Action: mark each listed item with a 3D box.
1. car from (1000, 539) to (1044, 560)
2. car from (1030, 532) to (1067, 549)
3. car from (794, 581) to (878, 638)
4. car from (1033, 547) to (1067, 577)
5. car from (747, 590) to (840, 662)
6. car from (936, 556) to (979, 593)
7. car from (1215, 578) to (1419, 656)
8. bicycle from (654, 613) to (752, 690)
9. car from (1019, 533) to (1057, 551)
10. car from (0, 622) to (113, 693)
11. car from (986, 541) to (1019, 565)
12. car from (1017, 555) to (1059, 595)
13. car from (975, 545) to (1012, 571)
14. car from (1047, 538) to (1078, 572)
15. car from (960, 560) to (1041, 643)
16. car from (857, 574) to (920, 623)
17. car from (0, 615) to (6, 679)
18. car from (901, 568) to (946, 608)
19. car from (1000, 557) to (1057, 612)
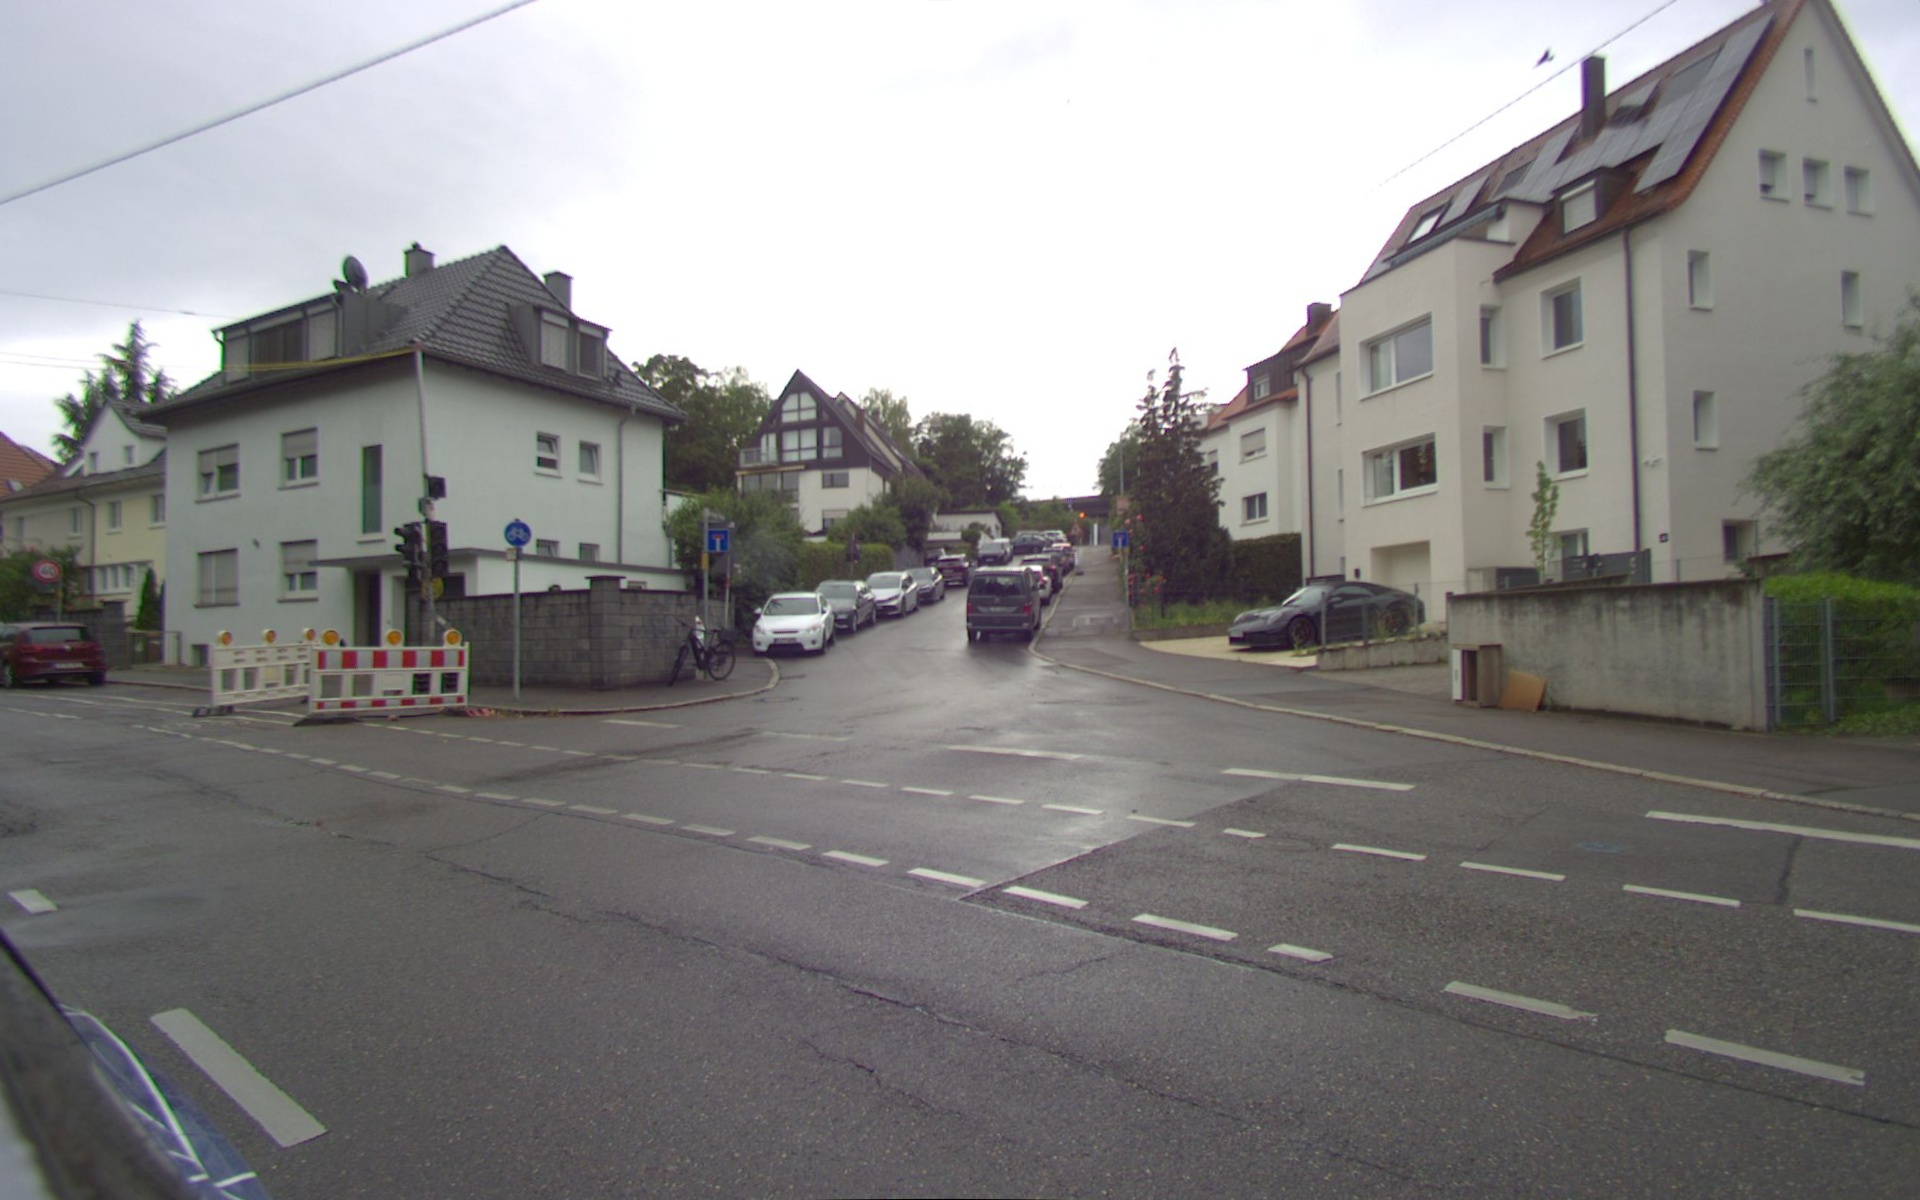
[{"bbox_3d":[5.131,-4.222,83.778,3.572,1.510,1.578,-2,5,7],"label":"car"},{"bbox_3d":[9.093,-6.082,103.806,3.492,1.510,1.614,-1,6,18],"label":"car"},{"bbox_3d":[-3.806,0.241,31.751,1.684,1.476,3.847,-2,3,7],"label":"car"},{"bbox_3d":[5.218,-2.215,58.103,1.677,1.479,3.553,-2,5,9],"label":"car"},{"bbox_3d":[-4.172,0.605,25.855,1.726,1.476,3.561,-2,3,0],"label":"car"},{"bbox_3d":[-0.090,-1.362,52.282,1.323,1.566,3.971,-1,6,13],"label":"car"},{"bbox_3d":[7.672,0.341,21.802,3.857,1.342,1.572,-4,1,-16],"label":"car"},{"bbox_3d":[-4.694,0.912,18.554,0.705,1.321,1.713,-1,0,33],"label":"bicycle"},{"bbox_3d":[7.631,-5.666,98.768,3.489,1.510,1.615,-1,6,16],"label":"car"},{"bbox_3d":[-21.468,1.348,23.376,3.785,1.505,1.877,-3,-3,33],"label":"car"},{"bbox_3d":[3.208,-3.546,75.474,1.720,1.510,3.817,-1,6,13],"label":"car"},{"bbox_3d":[3.529,-1.138,45.153,1.565,1.479,3.553,-2,5,9],"label":"car"},{"bbox_3d":[2.306,-2.862,68.724,1.720,1.510,3.817,-1,6,13],"label":"car"},{"bbox_3d":[6.380,-2.823,62.728,1.677,1.871,3.553,-2,5,9],"label":"car"},{"bbox_3d":[1.228,-0.022,28.981,1.893,1.950,3.789,-2,5,9],"label":"car"},{"bbox_3d":[-2.549,-0.097,36.967,1.564,1.476,3.848,-1,5,7],"label":"car"},{"bbox_3d":[-25.958,1.287,25.648,3.993,1.601,1.652,-3,-1,33],"label":"car"},{"bbox_3d":[-1.513,-0.535,42.729,1.320,1.400,3.497,-1,5,7],"label":"car"},{"bbox_3d":[2.738,-0.653,39.805,1.900,1.850,3.406,-2,5,9],"label":"car"}]
